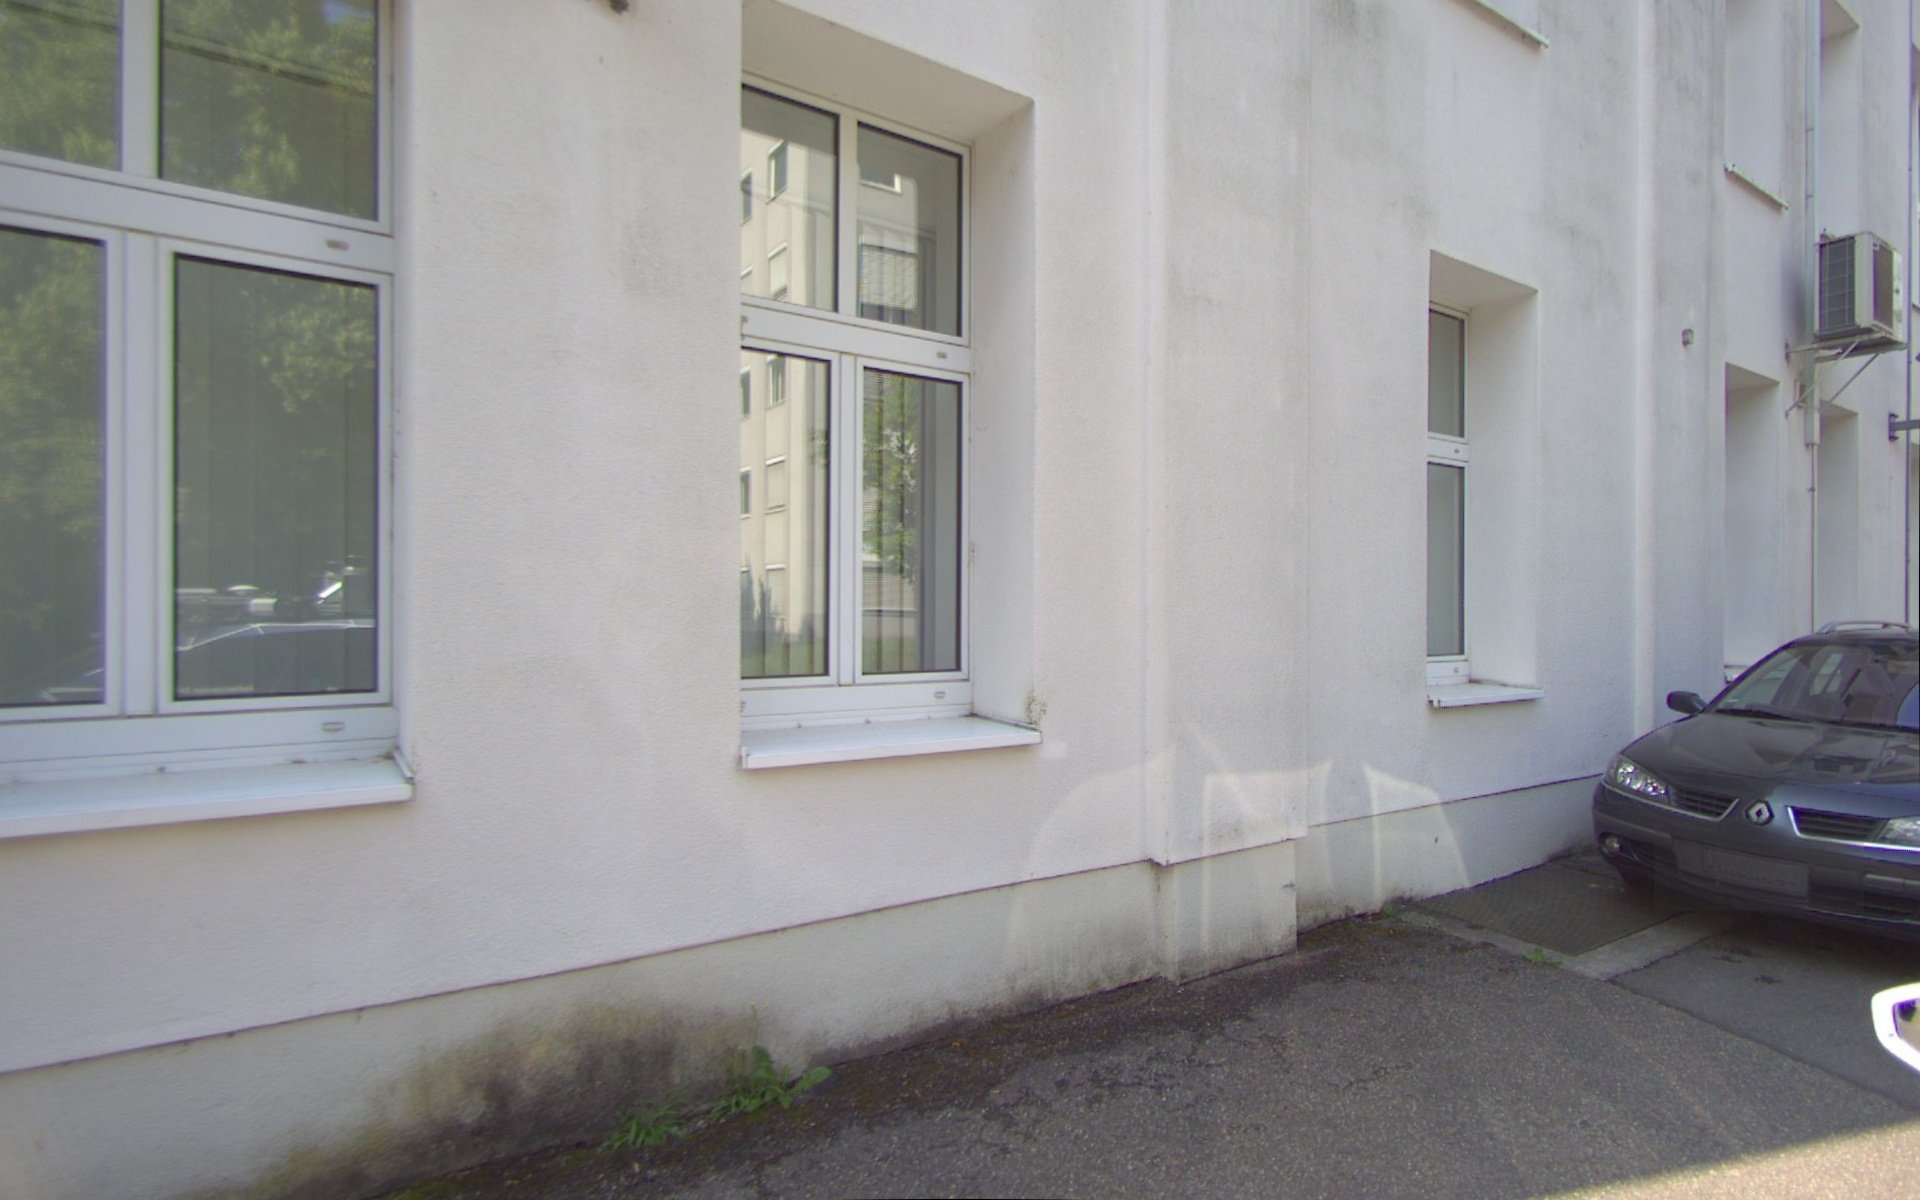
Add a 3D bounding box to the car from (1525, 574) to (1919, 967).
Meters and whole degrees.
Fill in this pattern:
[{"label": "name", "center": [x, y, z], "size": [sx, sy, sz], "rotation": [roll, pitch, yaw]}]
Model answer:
[{"label": "car", "center": [5.093, 0.777, 5.397], "size": [4.298, 1.461, 1.867], "rotation": [5, -1, -35]}]
